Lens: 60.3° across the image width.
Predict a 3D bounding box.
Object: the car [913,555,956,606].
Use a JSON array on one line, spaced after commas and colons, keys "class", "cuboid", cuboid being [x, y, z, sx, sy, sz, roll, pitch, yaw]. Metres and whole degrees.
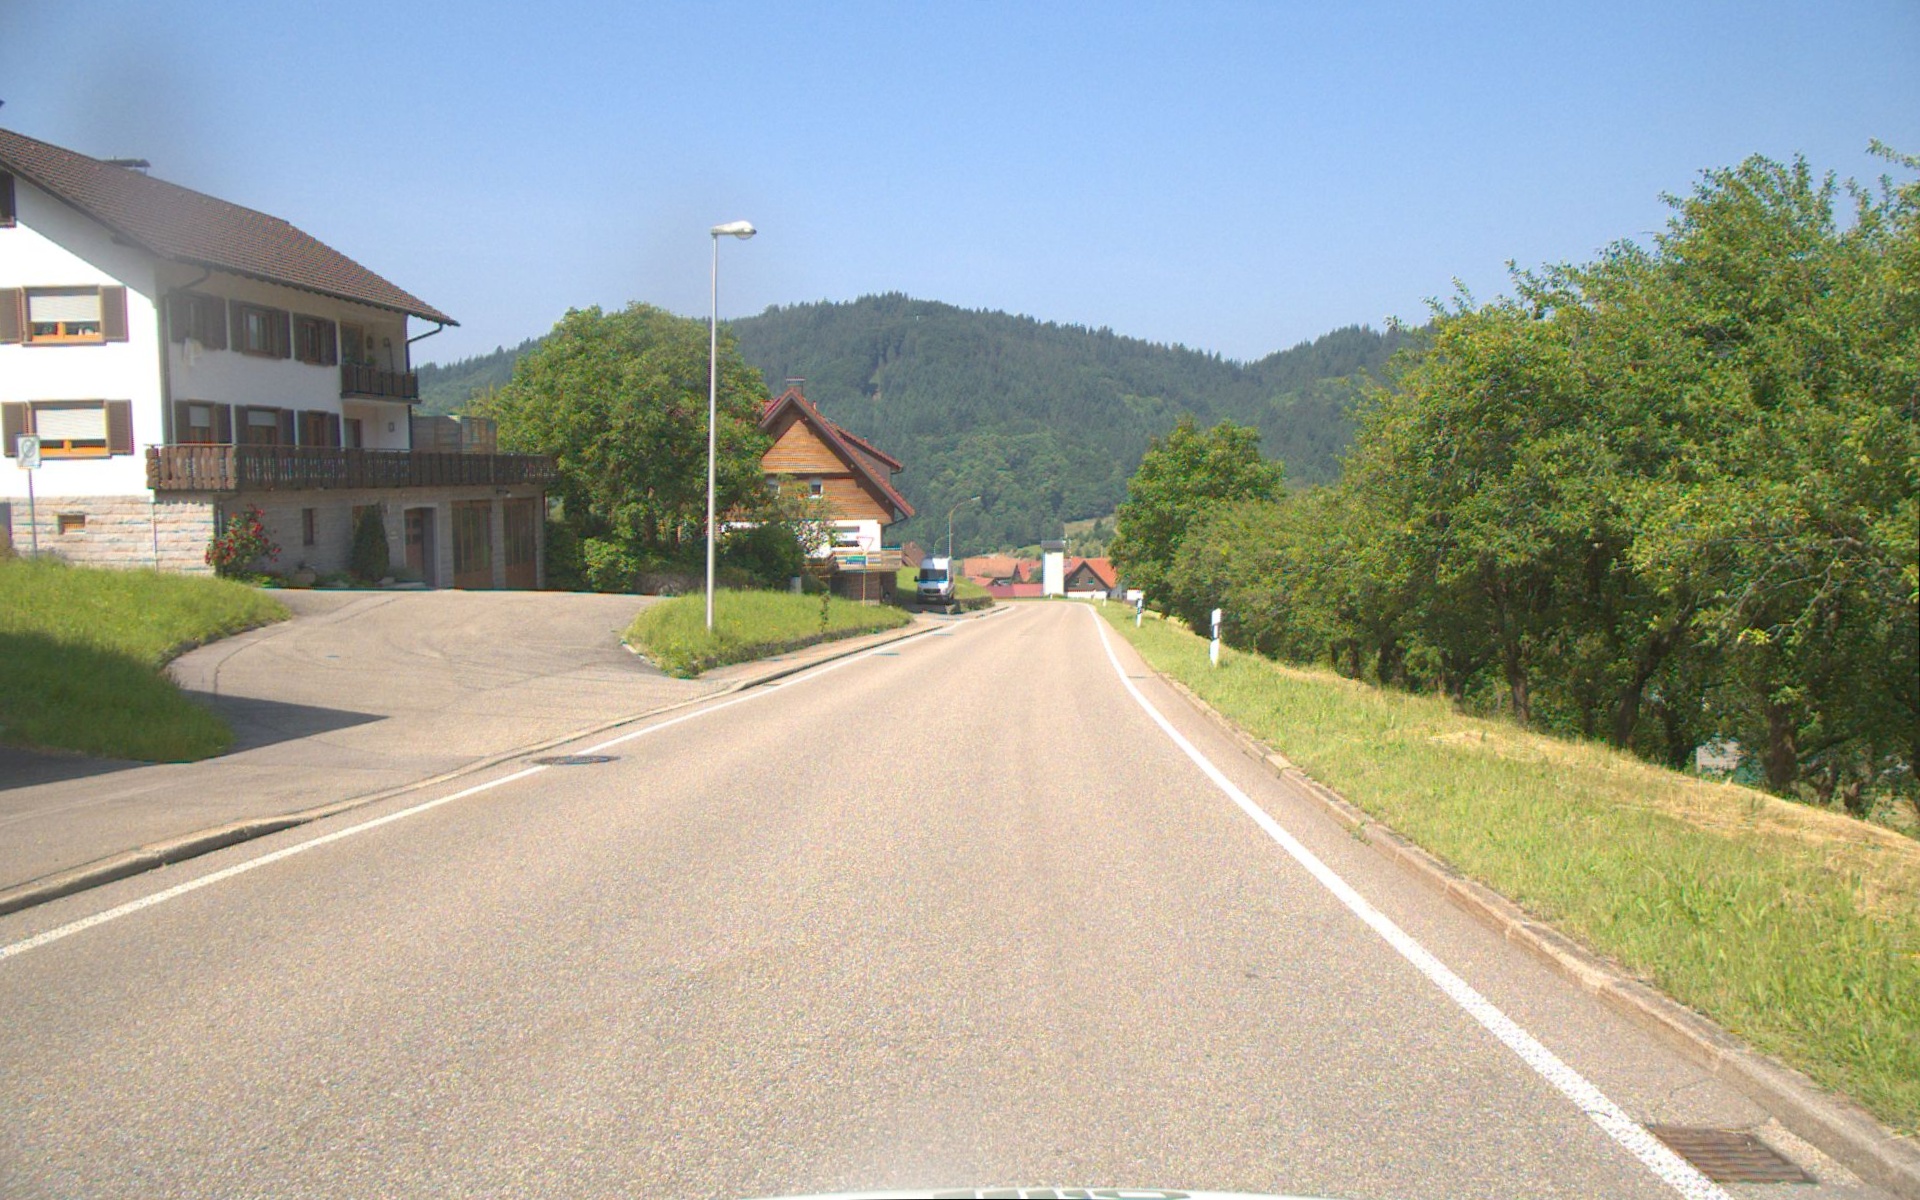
[{"class": "car", "cuboid": [-1.502, -1.238, 100.932, 2.024, 2.734, 7.180, -1, 4, 3]}]
